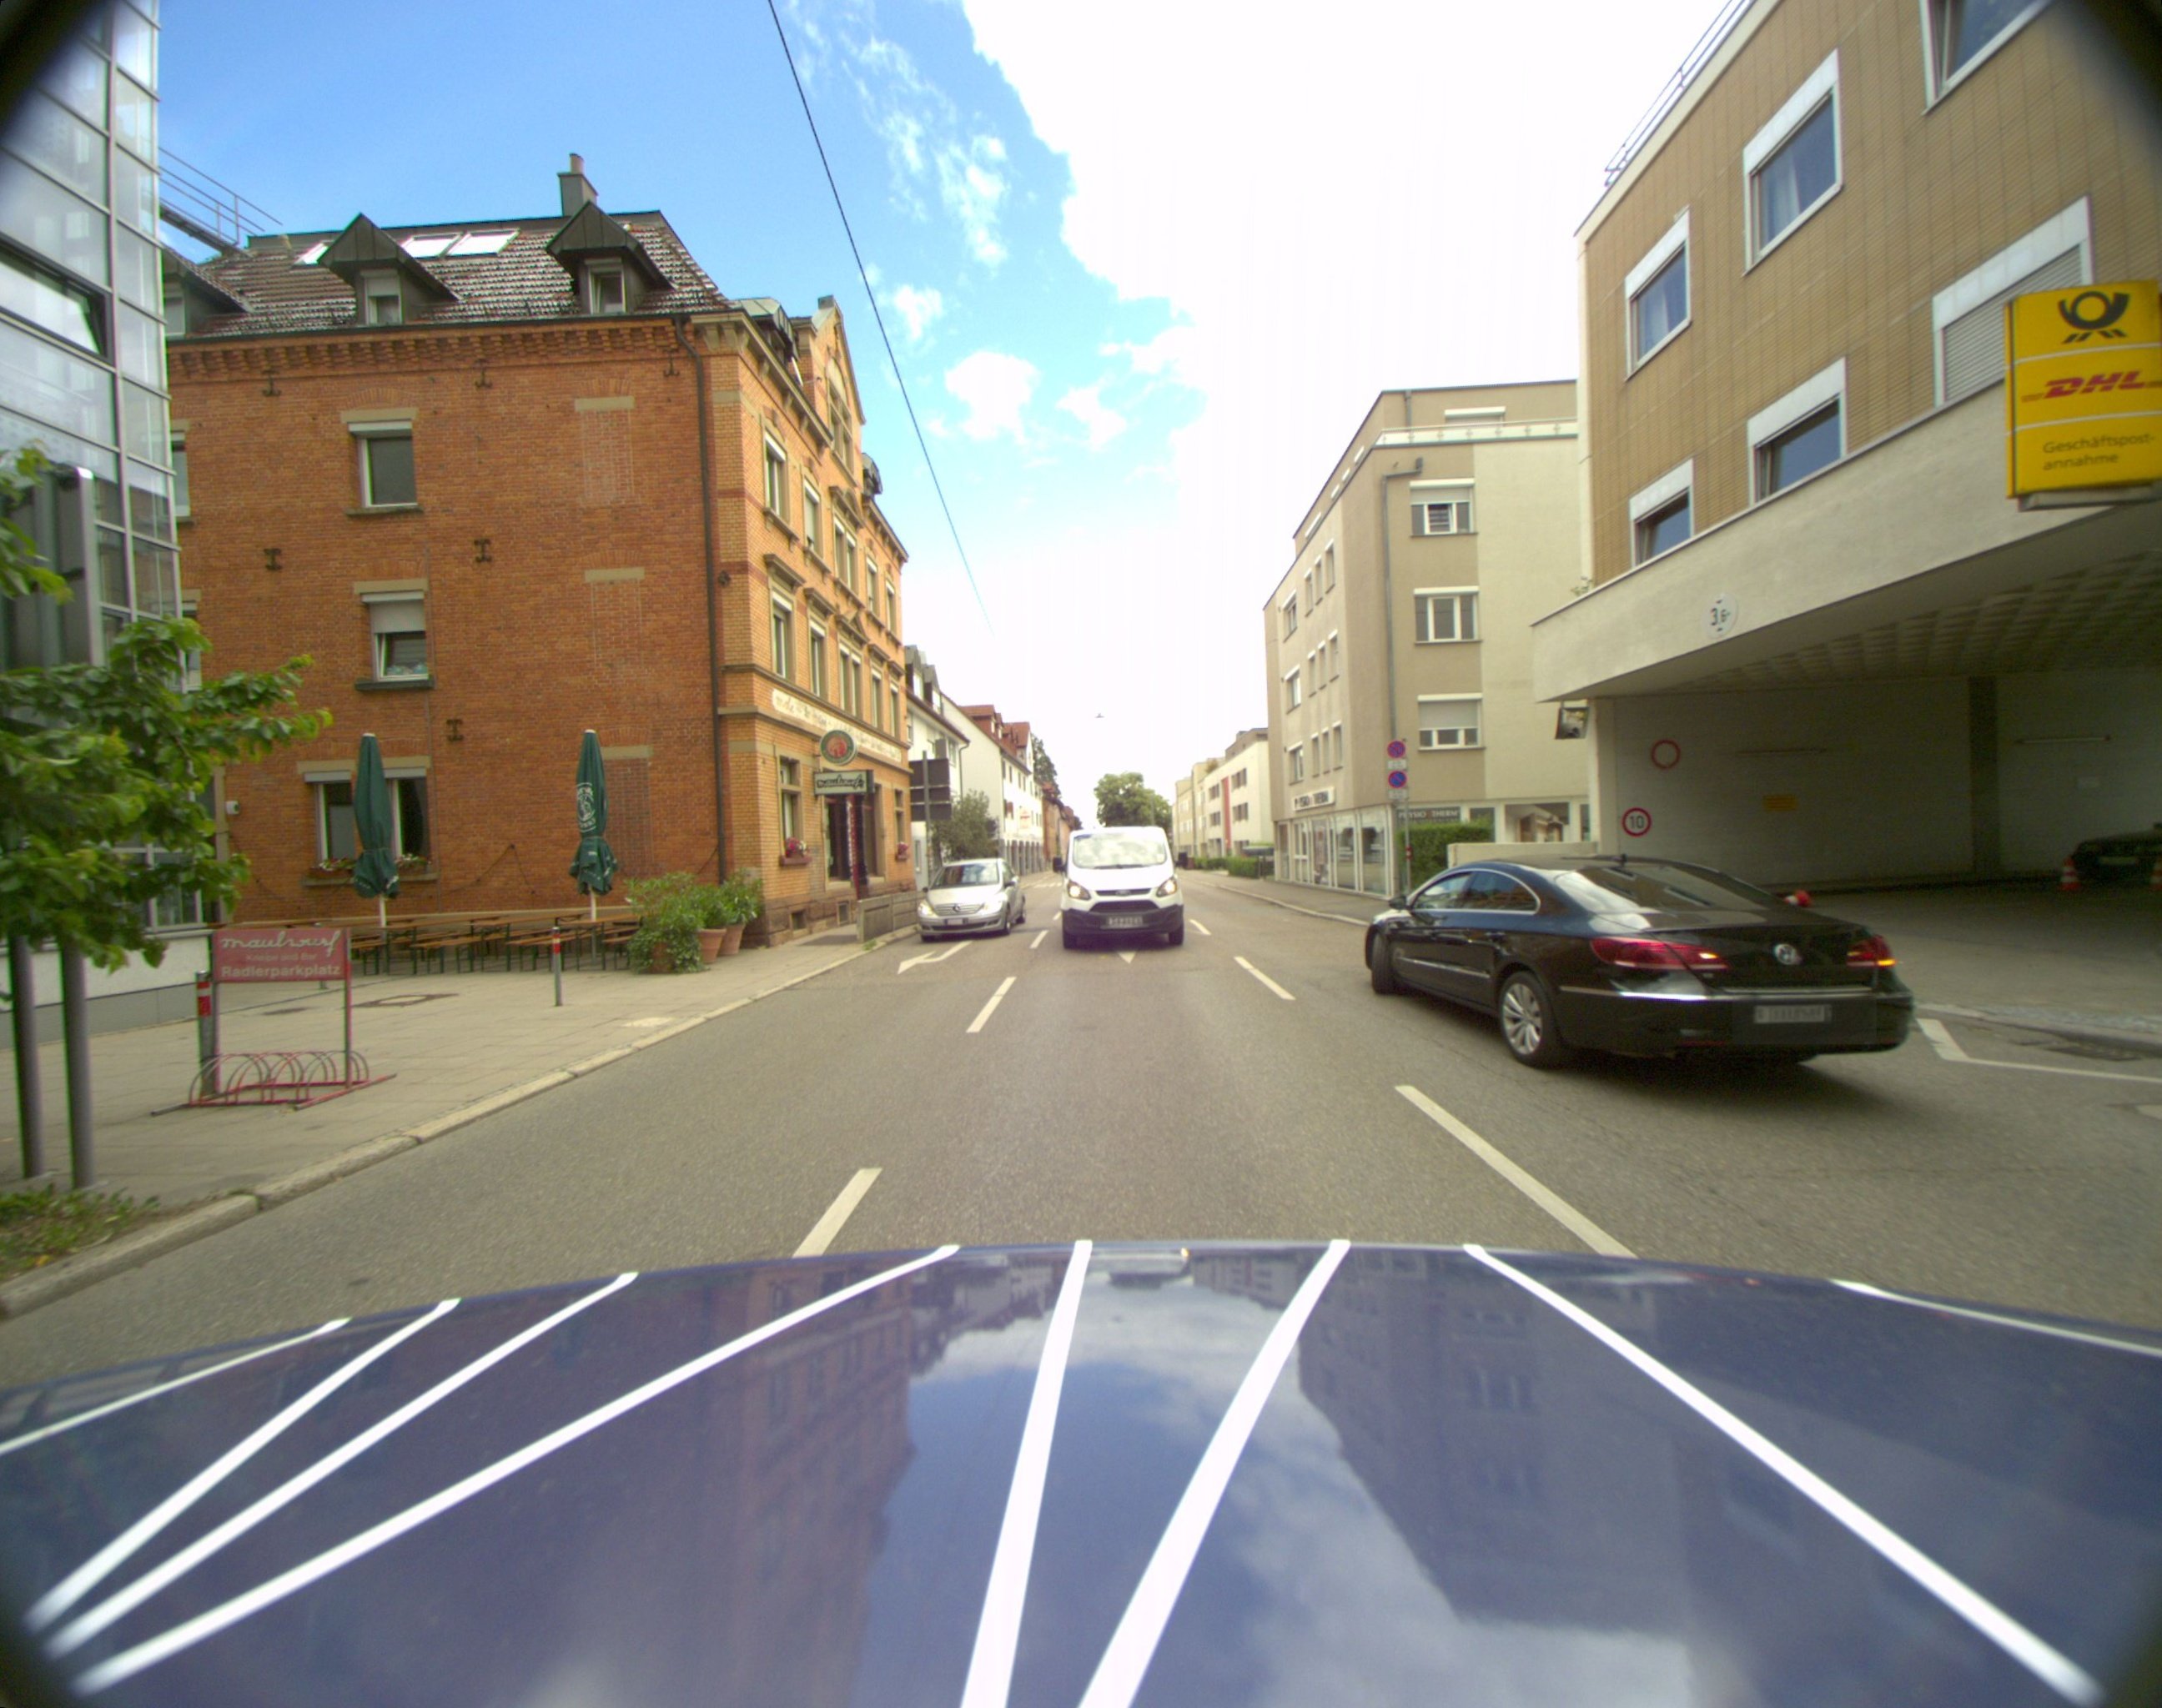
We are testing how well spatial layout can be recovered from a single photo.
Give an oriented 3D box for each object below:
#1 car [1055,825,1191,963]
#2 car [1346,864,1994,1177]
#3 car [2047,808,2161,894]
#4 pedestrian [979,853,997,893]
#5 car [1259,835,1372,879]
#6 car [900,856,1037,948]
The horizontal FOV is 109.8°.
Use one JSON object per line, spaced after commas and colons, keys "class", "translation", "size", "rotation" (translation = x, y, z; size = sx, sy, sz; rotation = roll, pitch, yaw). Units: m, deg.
{"class": "car", "translation": [0.641, 0.591, 13.951], "size": [1.965, 1.986, 5.087], "rotation": [-2, 0, 0]}
{"class": "car", "translation": [3.727, 0.864, 6.024], "size": [1.656, 1.390, 4.453], "rotation": [-3, 1, 0]}
{"class": "car", "translation": [18.958, -0.143, 12.284], "size": [4.450, 1.315, 1.624], "rotation": [-3, 1, 2]}
{"class": "pedestrian", "translation": [-4.154, 0.841, 33.971], "size": [0.690, 1.721, 0.650], "rotation": [-2, 1, 0]}
{"class": "car", "translation": [11.726, 0.161, 38.234], "size": [5.082, 1.986, 1.966], "rotation": [-2, 1, 4]}
{"class": "car", "translation": [-2.256, 0.916, 16.617], "size": [1.998, 1.537, 4.571], "rotation": [-5, 0, 3]}
